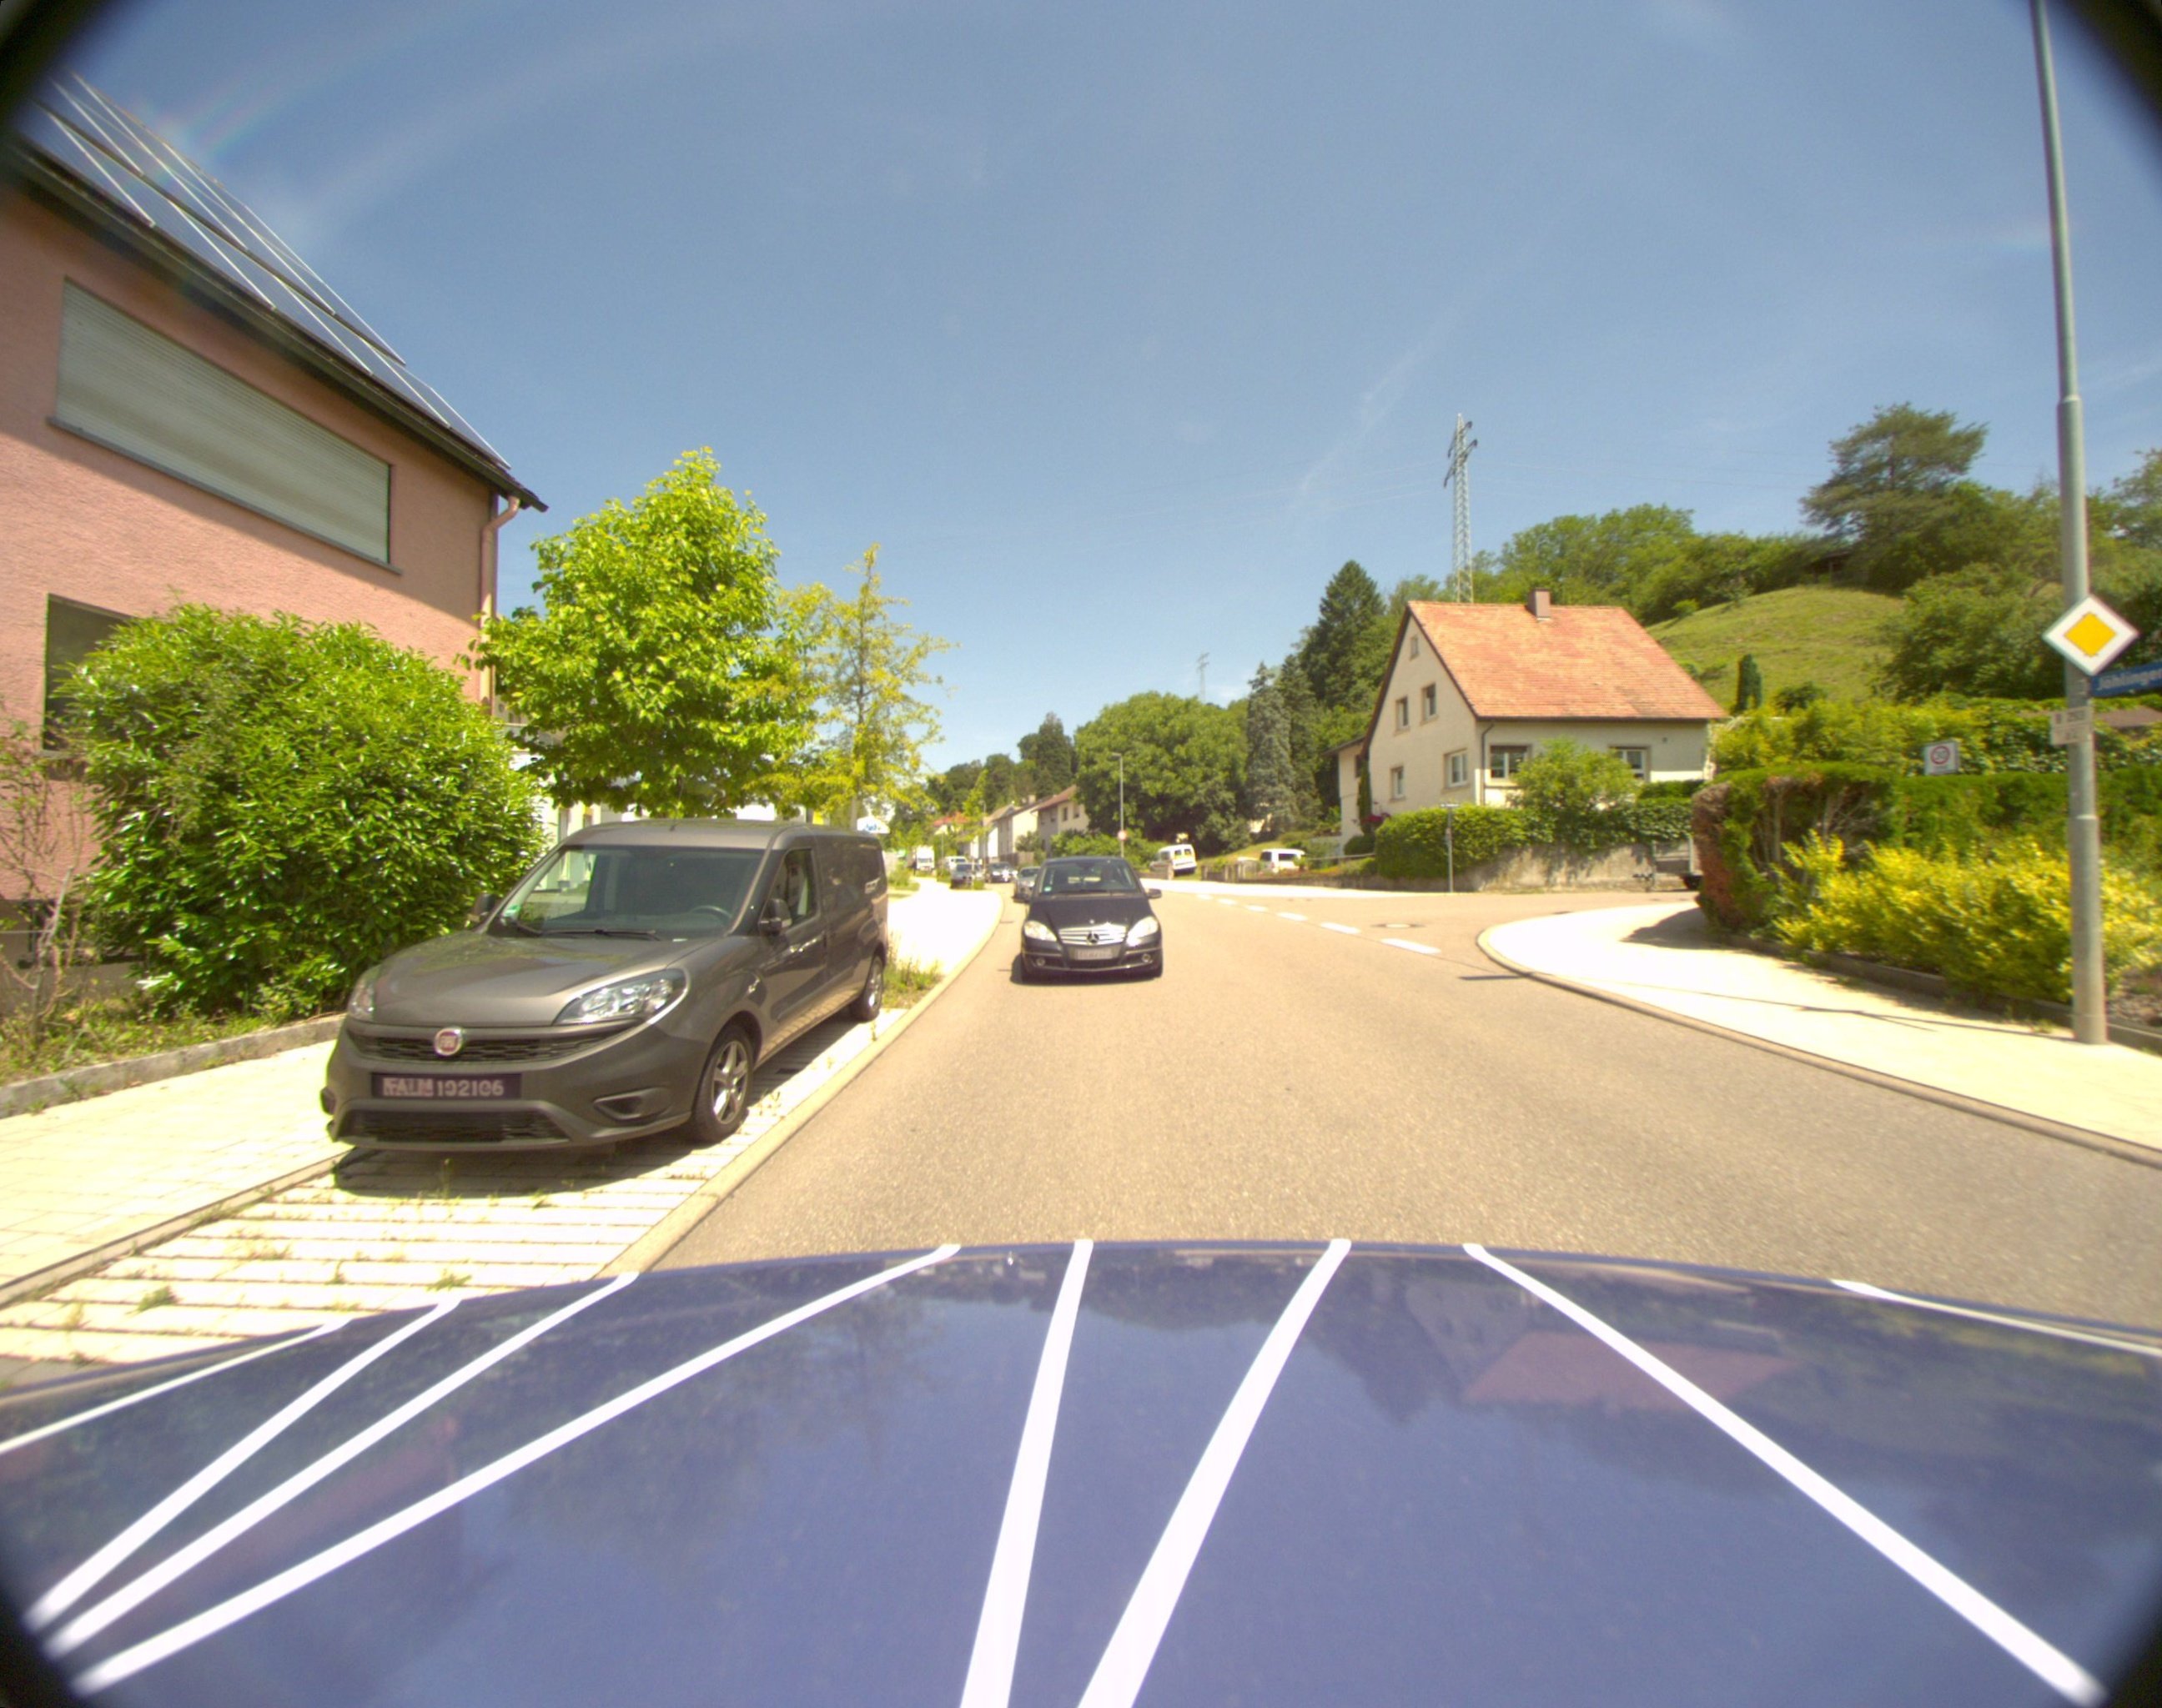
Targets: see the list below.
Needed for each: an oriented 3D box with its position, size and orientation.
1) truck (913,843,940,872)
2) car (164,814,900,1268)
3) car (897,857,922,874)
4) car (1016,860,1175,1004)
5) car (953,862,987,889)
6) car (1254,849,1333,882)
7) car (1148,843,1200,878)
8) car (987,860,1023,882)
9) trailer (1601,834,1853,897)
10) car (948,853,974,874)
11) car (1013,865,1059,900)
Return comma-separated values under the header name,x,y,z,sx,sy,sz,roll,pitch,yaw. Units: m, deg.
name,x,y,z,sx,sy,sz,roll,pitch,yaw
truck,-19.724,0.471,96.827,2.809,3.394,8.109,-1,0,-15
car,-2.792,0.782,5.428,1.860,1.831,4.671,1,0,0
car,-15.743,1.013,69.617,1.654,1.520,3.857,-1,0,-22
car,0.006,0.911,10.825,1.791,1.595,4.073,-1,0,-5
car,-5.899,1.121,40.644,1.676,1.368,3.998,1,0,-7
car,12.169,0.682,43.626,4.004,1.778,1.809,1,-4,-19
car,5.625,0.393,46.565,1.705,1.937,3.995,-4,1,-15
car,-5.121,1.105,50.825,1.912,1.341,3.995,-1,0,-13
trailer,17.818,0.340,21.213,5.072,1.496,2.001,-2,-1,7
car,-11.408,0.885,71.892,1.971,1.823,4.459,1,0,-15
car,-1.837,1.075,30.242,1.668,1.253,3.550,-1,0,-6
